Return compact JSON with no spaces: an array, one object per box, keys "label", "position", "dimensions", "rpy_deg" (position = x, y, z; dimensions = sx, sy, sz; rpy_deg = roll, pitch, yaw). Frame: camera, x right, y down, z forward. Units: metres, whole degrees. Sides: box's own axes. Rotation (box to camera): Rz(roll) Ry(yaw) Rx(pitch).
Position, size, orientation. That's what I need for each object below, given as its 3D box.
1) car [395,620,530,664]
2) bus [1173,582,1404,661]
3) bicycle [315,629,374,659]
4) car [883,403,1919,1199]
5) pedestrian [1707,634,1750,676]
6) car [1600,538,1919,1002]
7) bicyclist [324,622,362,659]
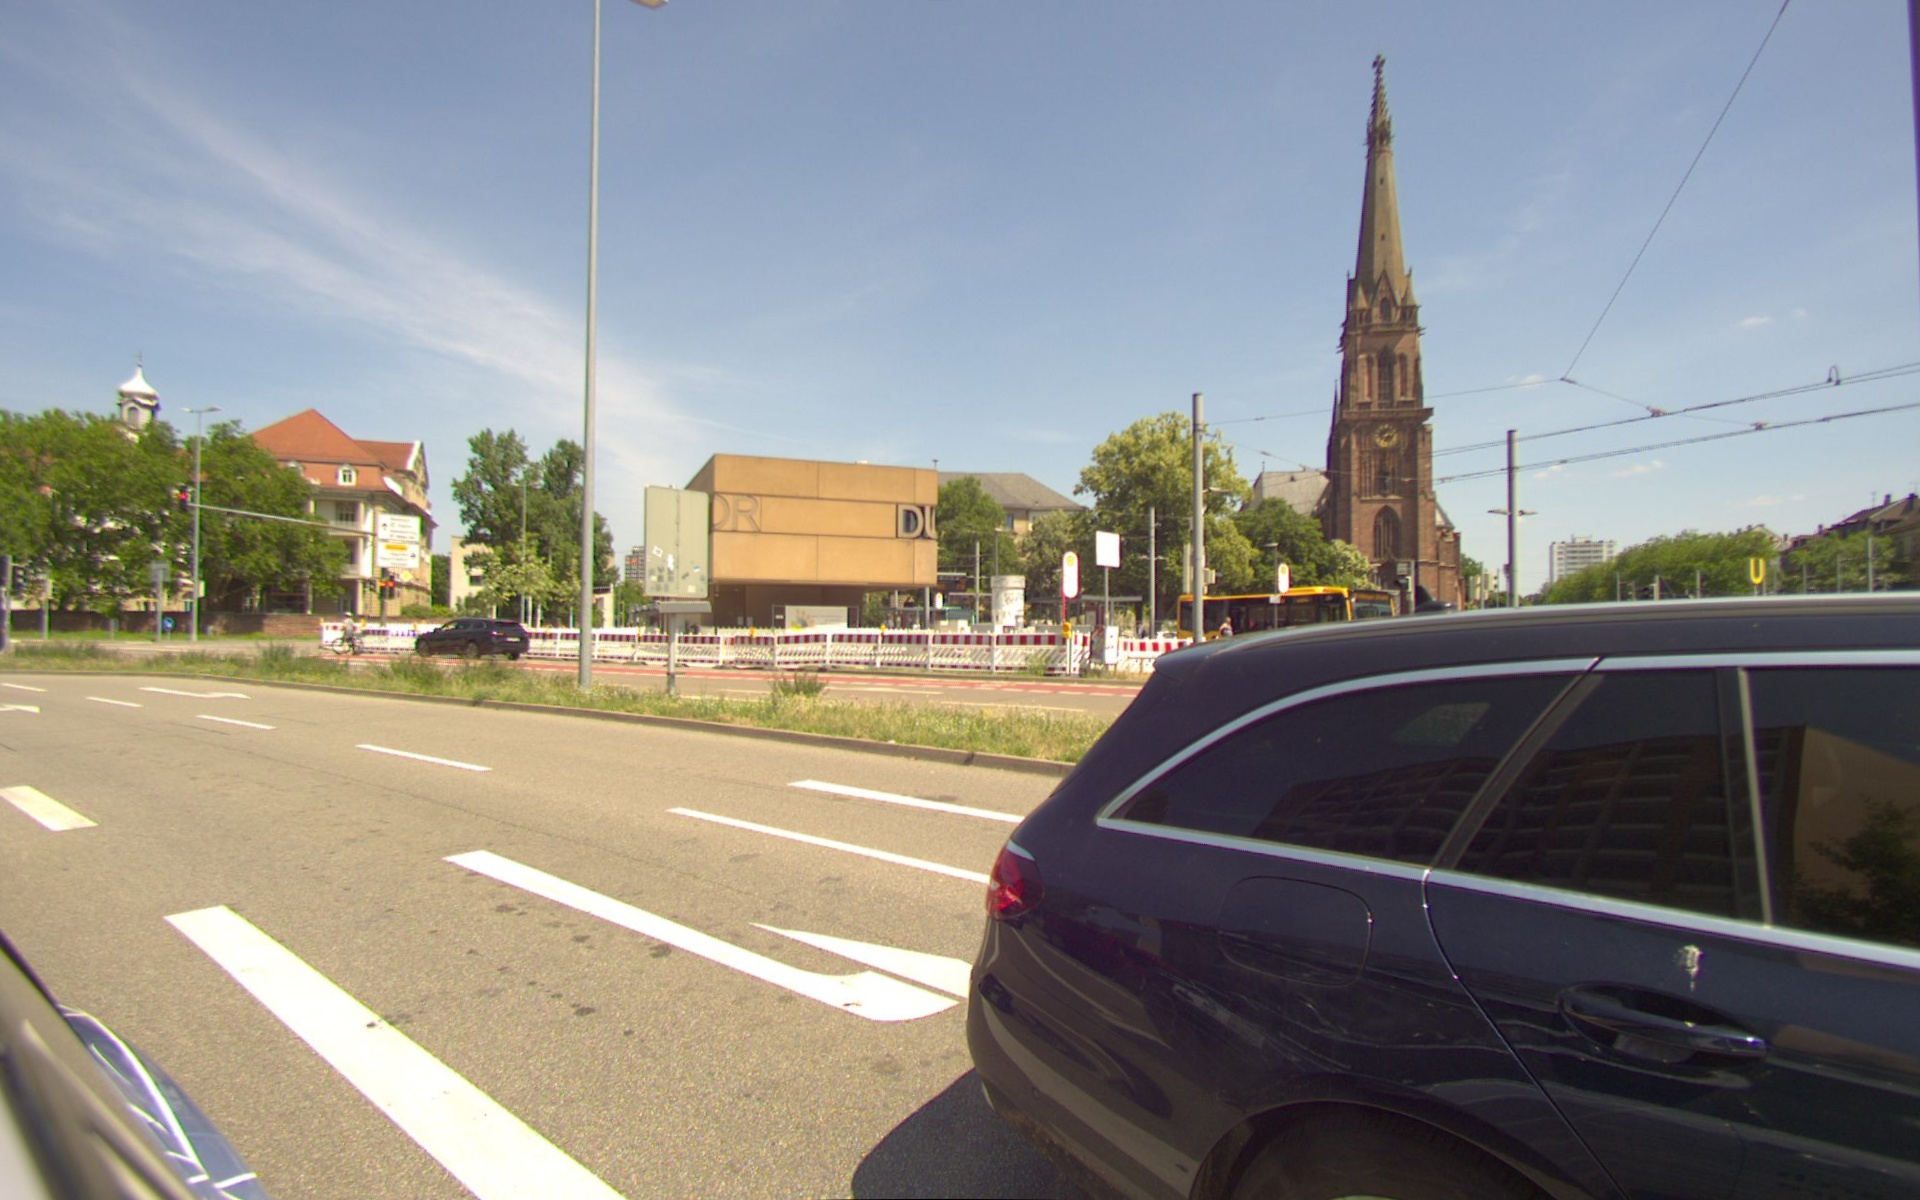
[{"label":"car","position":[-17.870,1.471,36.284],"dimensions":[4.826,1.476,1.980],"rpy_deg":[-1,-2,30]},{"label":"bus","position":[14.109,1.029,45.335],"dimensions":[2.807,3.039,12.259],"rpy_deg":[1,-2,-21]},{"label":"bicycle","position":[-23.385,1.668,38.459],"dimensions":[2.221,1.080,0.871],"rpy_deg":[0,0,27]},{"label":"car","position":[2.207,0.602,1.181],"dimensions":[4.804,1.653,1.778],"rpy_deg":[-1,-1,43]},{"label":"pedestrian","position":[25.492,1.816,33.588],"dimensions":[0.518,1.344,1.001],"rpy_deg":[1,-2,-16]},{"label":"car","position":[4.559,0.586,3.484],"dimensions":[3.737,1.588,1.725],"rpy_deg":[-1,-2,42]},{"label":"bicyclist","position":[-23.466,1.544,38.494],"dimensions":[1.432,1.366,0.581],"rpy_deg":[0,0,27]}]
